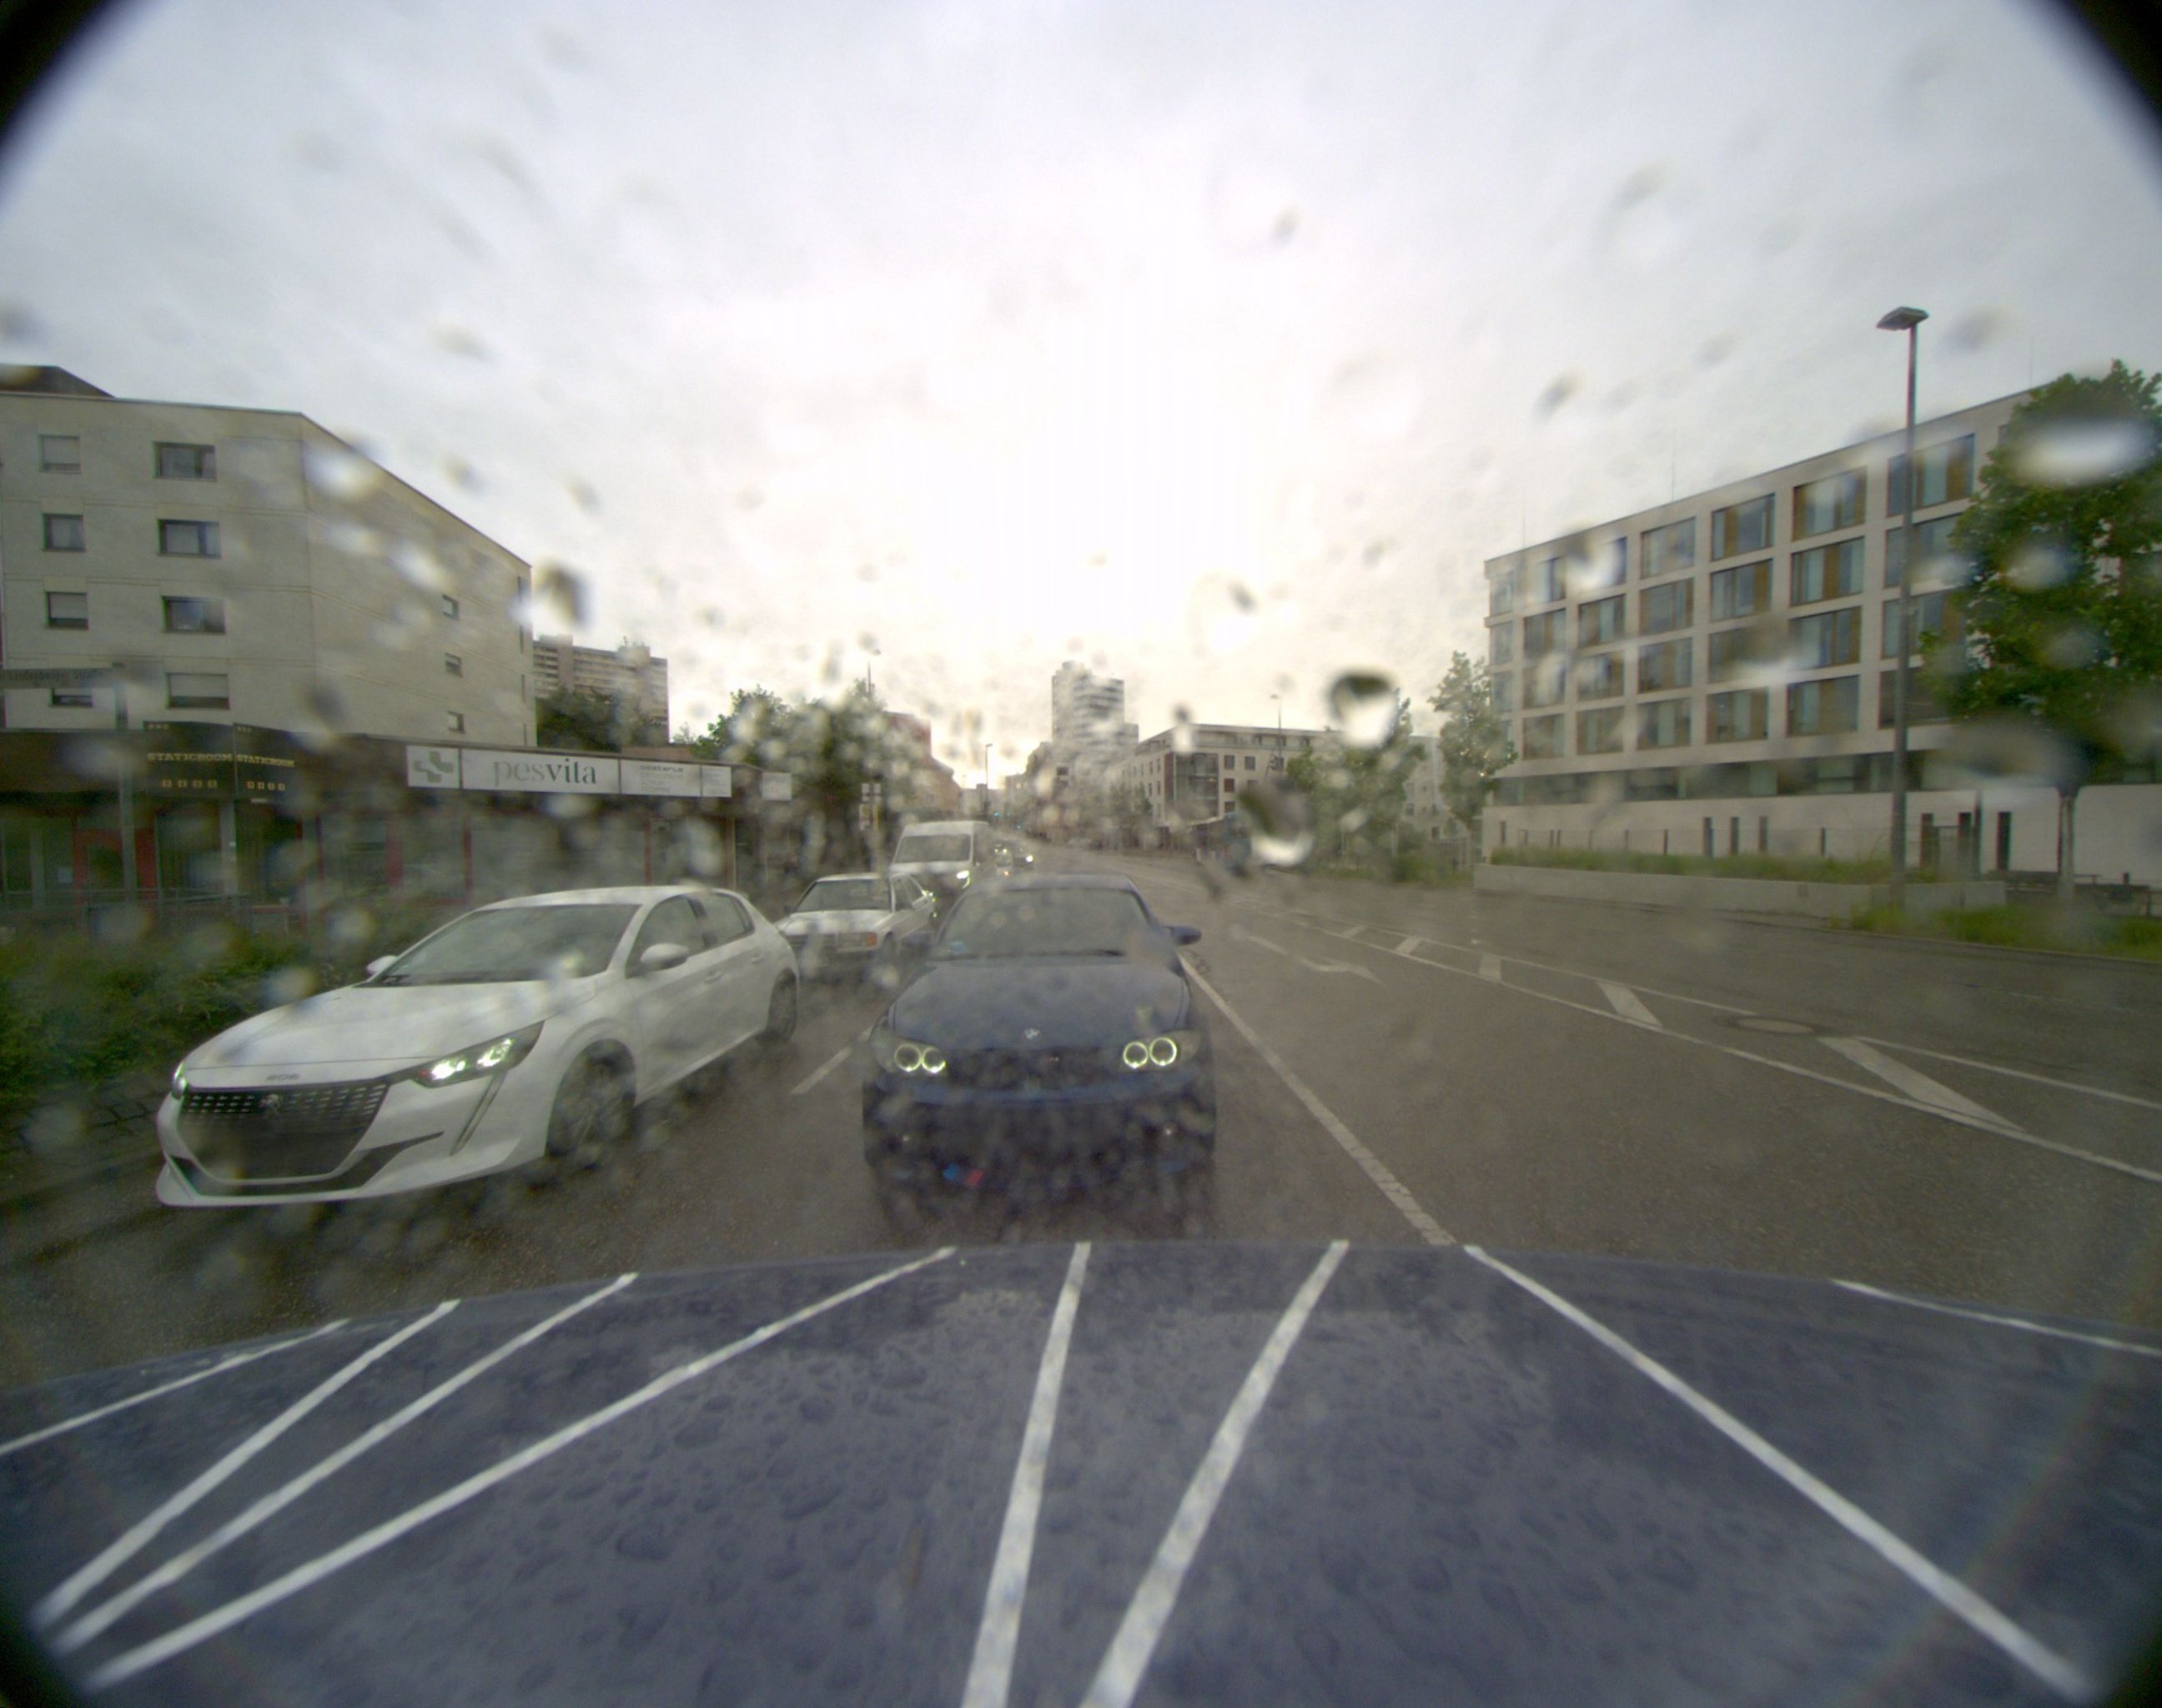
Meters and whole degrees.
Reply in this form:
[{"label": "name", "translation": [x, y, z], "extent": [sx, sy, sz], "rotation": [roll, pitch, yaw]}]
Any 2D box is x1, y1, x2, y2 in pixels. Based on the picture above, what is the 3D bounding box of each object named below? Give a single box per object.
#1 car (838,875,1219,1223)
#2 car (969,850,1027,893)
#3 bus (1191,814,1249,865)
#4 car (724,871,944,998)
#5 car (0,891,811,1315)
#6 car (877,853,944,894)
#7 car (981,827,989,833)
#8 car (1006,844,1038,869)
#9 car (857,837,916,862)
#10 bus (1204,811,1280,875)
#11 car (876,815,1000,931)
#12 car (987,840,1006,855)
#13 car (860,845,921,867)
[{"label": "car", "translation": [-0.278, 0.945, 5.464], "extent": [1.693, 1.380, 3.999], "rotation": [-2, 1, -1]}, {"label": "car", "translation": [-3.277, 0.665, 30.869], "extent": [1.803, 1.530, 3.999], "rotation": [-2, 1, 1]}, {"label": "bus", "translation": [9.135, -0.953, 50.706], "extent": [2.798, 3.096, 8.885], "rotation": [0, 1, 4]}, {"label": "car", "translation": [-3.366, 1.028, 11.282], "extent": [1.788, 1.338, 4.162], "rotation": [-2, 1, 1]}, {"label": "car", "translation": [-3.412, 1.090, 5.069], "extent": [1.666, 1.407, 4.114], "rotation": [-2, 1, 1]}, {"label": "car", "translation": [-6.999, 0.767, 31.584], "extent": [1.788, 1.481, 4.000], "rotation": [-2, 1, 1]}, {"label": "car", "translation": [-26.718, -6.751, 211.407], "extent": [1.666, 1.625, 3.801], "rotation": [-2, 1, -11]}, {"label": "car", "translation": [-4.065, 0.150, 53.006], "extent": [1.999, 1.559, 3.998], "rotation": [-2, 1, -1]}, {"label": "car", "translation": [-14.137, -0.321, 55.412], "extent": [4.000, 1.769, 1.882], "rotation": [-1, 1, -10]}, {"label": "bus", "translation": [8.598, -0.604, 41.687], "extent": [2.783, 3.096, 9.369], "rotation": [0, 1, 4]}, {"label": "car", "translation": [-3.484, 0.361, 19.890], "extent": [2.197, 2.503, 6.120], "rotation": [-1, 1, -2]}, {"label": "car", "translation": [-10.404, -0.799, 93.907], "extent": [1.879, 1.745, 4.000], "rotation": [1, 0, 1]}, {"label": "car", "translation": [-13.200, 0.120, 52.904], "extent": [4.000, 1.419, 1.882], "rotation": [-1, 1, -10]}]
